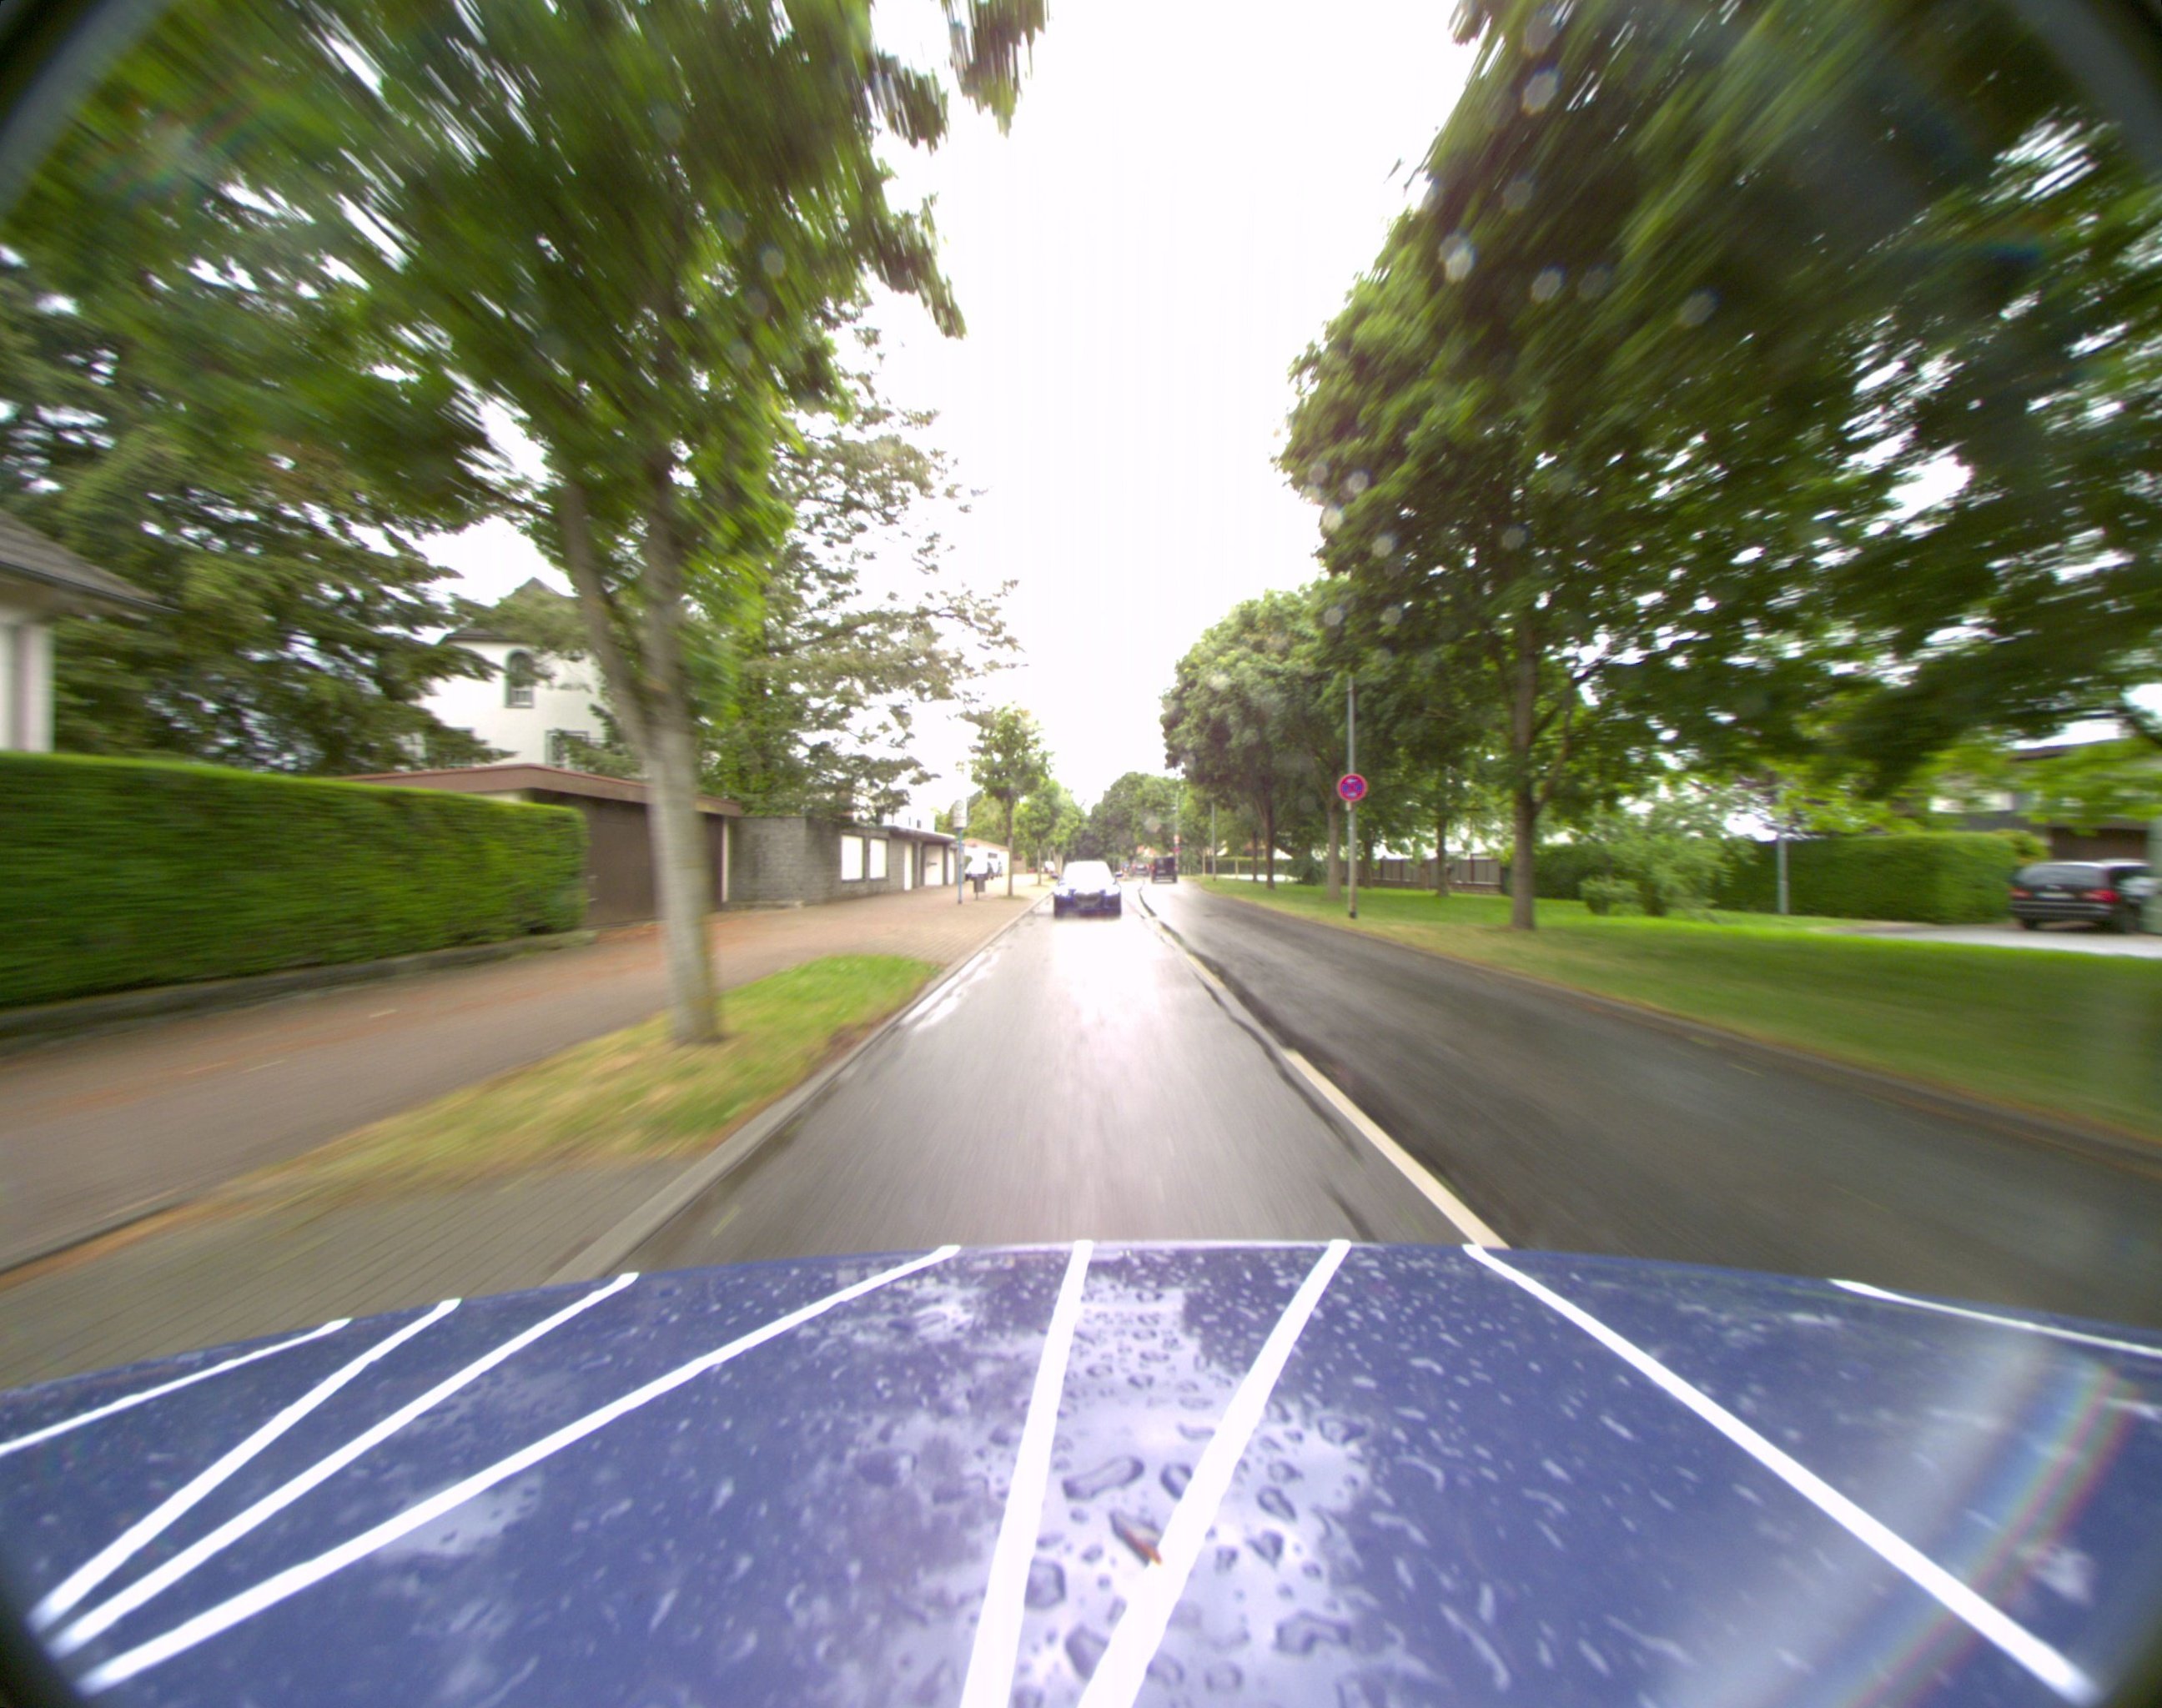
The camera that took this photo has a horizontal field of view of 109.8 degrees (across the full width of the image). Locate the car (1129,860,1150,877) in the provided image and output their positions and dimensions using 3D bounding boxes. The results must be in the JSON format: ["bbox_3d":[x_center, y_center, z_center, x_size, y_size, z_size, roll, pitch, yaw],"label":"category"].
[{"bbox_3d":[5.776,1.448,75.191,1.714,1.588,4.172,-1,-1,0],"label":"car"}]

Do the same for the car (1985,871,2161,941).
[{"bbox_3d":[25.220,1.250,18.903,4.002,1.584,1.901,1,0,-13],"label":"car"}]

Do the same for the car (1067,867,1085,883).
[{"bbox_3d":[-0.700,2.832,102.889,1.999,2.002,3.998,-2,0,-6],"label":"car"}]

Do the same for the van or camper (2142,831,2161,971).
[{"bbox_3d":[19.337,0.763,9.890,2.096,2.322,6.150,1,-1,-8],"label":"van or camper"}]

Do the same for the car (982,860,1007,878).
[{"bbox_3d":[-7.773,1.339,68.625,1.699,1.552,4.000,-2,0,1],"label":"car"}]

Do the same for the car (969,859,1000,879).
[{"bbox_3d":[-6.985,1.074,55.389,1.666,1.413,4.001,-2,0,1],"label":"car"}]

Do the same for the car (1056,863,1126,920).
[{"bbox_3d":[0.300,0.999,21.918,1.815,1.459,3.975,-1,0,1],"label":"car"}]

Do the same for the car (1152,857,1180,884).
[{"bbox_3d":[5.721,1.080,51.434,1.780,1.763,4.287,0,0,5],"label":"car"}]
